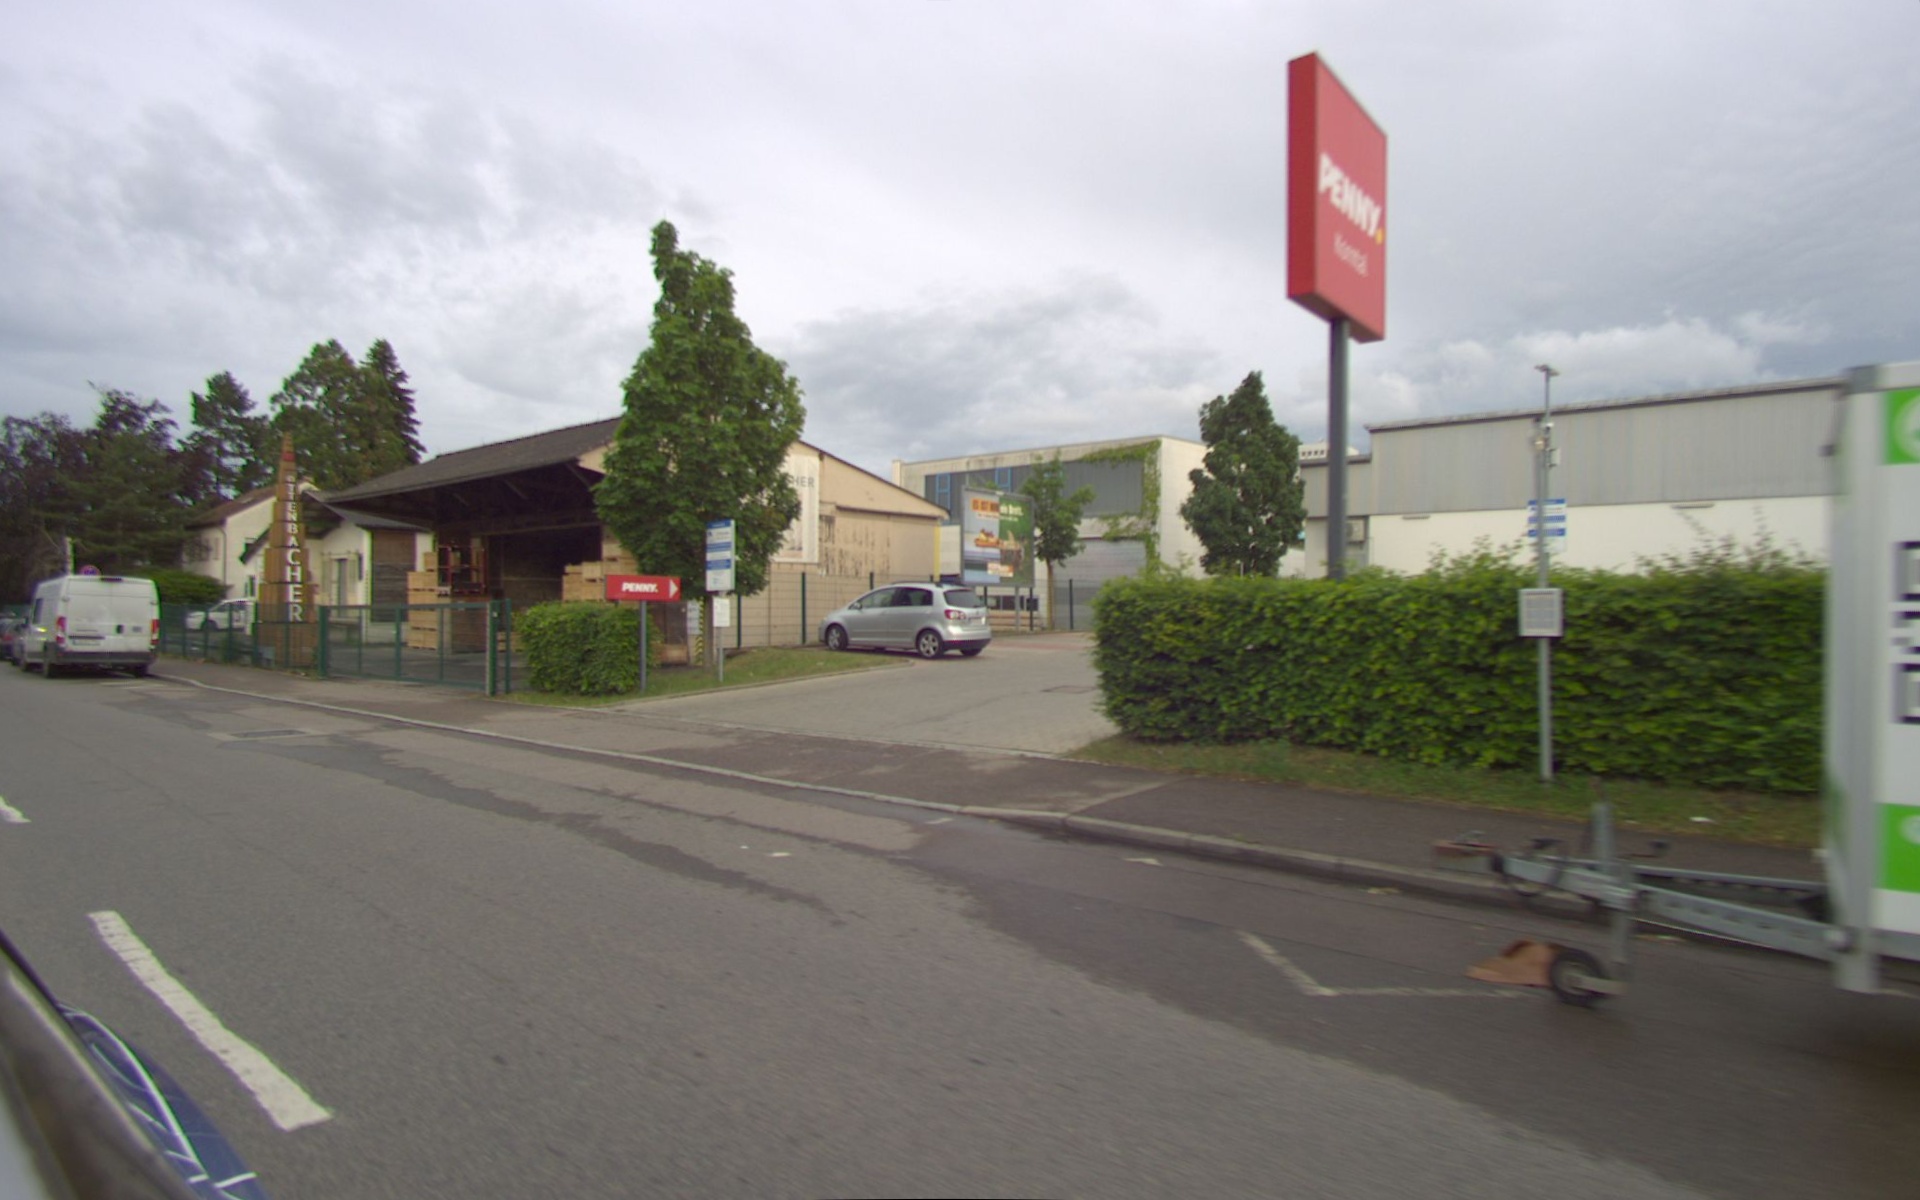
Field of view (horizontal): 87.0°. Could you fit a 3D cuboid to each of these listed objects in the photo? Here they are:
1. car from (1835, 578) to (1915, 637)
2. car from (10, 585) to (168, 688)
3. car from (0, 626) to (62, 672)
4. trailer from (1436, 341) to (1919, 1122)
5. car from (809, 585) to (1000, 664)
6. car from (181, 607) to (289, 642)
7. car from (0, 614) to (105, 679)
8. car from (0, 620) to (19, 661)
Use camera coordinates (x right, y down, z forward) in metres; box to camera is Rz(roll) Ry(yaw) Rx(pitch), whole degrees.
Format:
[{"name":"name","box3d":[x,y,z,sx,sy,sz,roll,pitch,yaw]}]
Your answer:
[{"name":"car","box3d":[27.000,0.189,29.955,1.659,1.618,3.687,-1,0,41]},{"name":"car","box3d":[-23.133,0.964,26.770,6.455,2.445,2.135,-1,-4,41]},{"name":"car","box3d":[-32.402,1.632,34.729,4.313,1.459,1.645,-1,-2,39]},{"name":"trailer","box3d":[4.217,0.405,3.075,4.726,2.332,1.794,-1,-4,40]},{"name":"car","box3d":[-1.260,0.521,22.169,4.034,1.599,1.632,-1,-1,34]},{"name":"car","box3d":[-42.966,1.409,60.060,2.000,1.871,4.945,-1,0,42]},{"name":"car","box3d":[-27.479,1.371,30.588,4.444,1.782,1.751,-1,-4,41]},{"name":"car","box3d":[-39.357,1.586,40.741,3.913,1.596,1.644,-1,-3,40]}]
